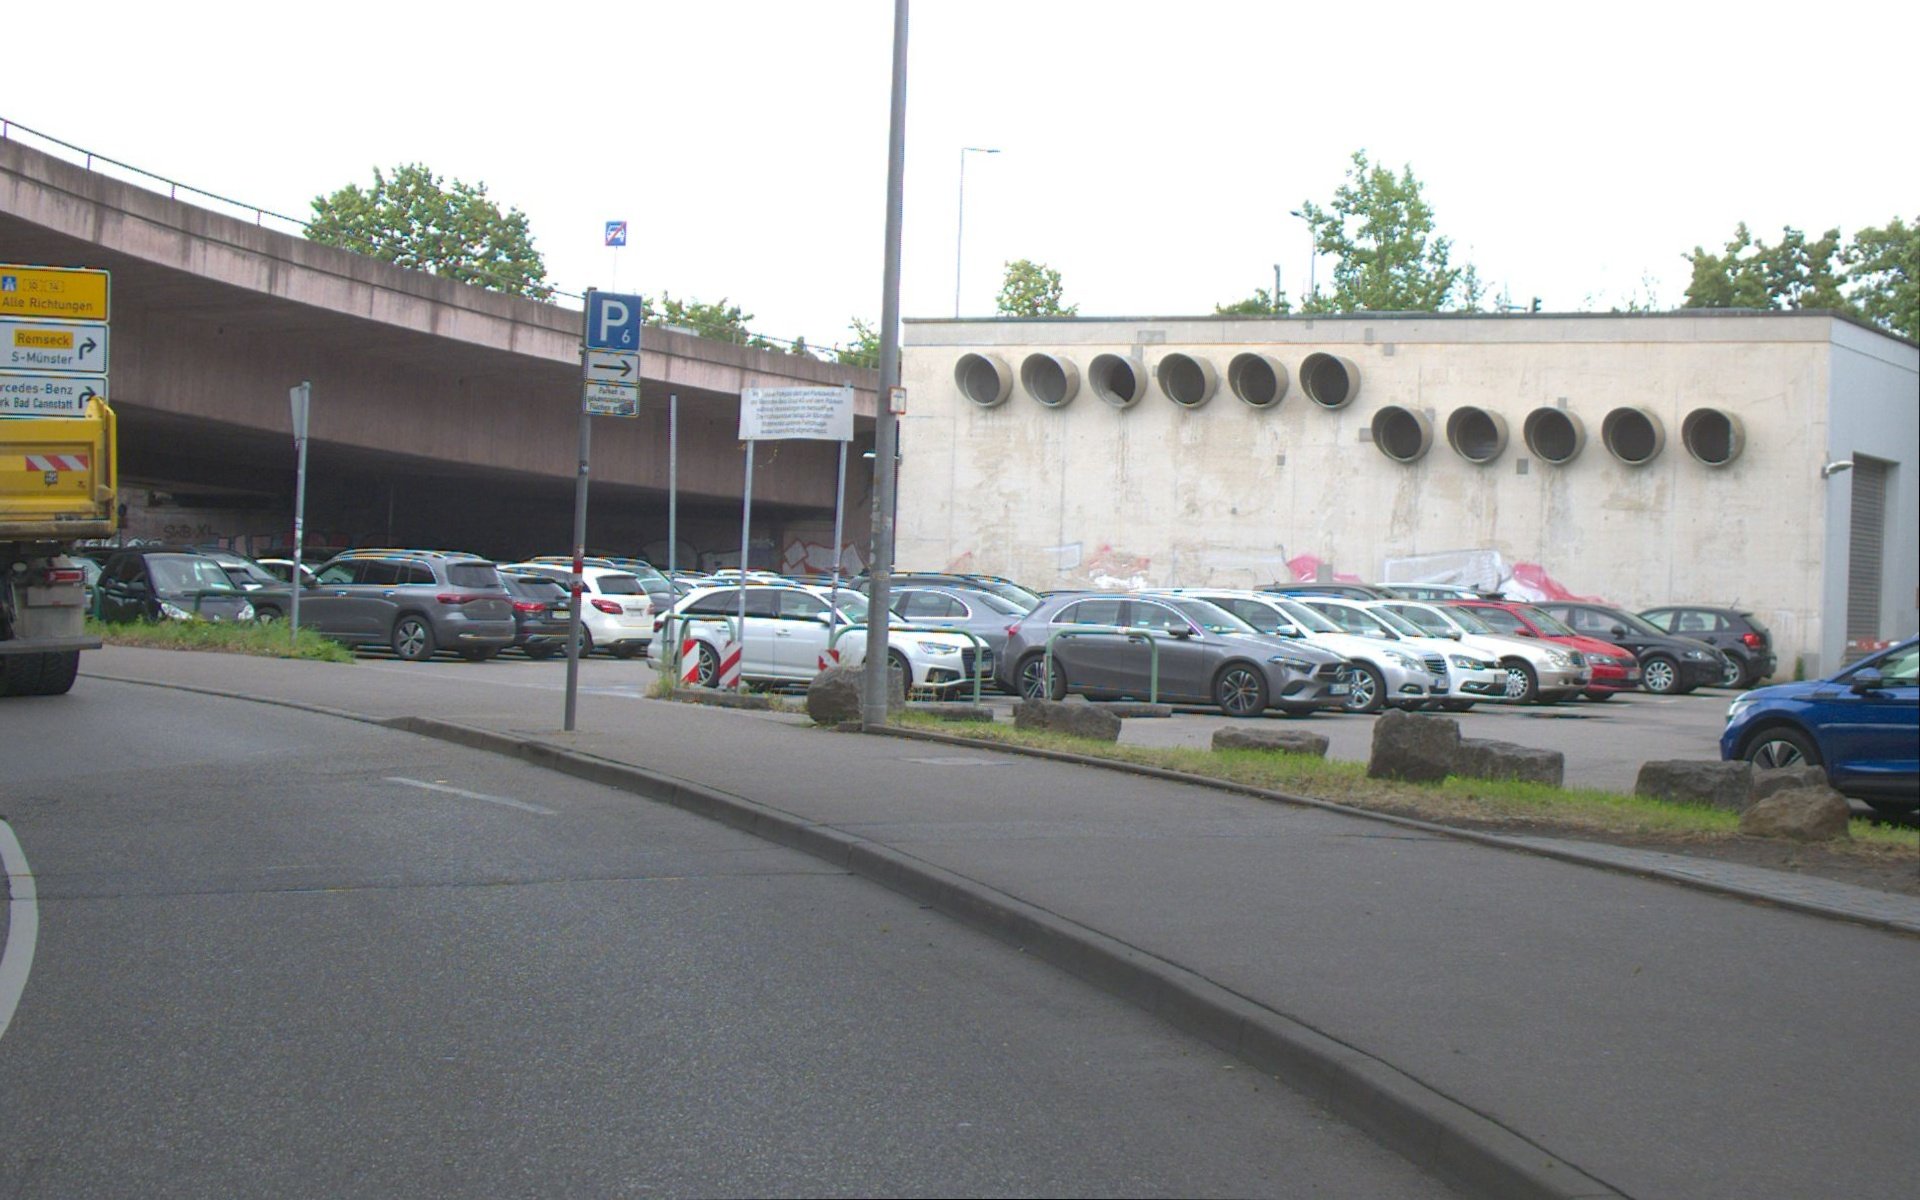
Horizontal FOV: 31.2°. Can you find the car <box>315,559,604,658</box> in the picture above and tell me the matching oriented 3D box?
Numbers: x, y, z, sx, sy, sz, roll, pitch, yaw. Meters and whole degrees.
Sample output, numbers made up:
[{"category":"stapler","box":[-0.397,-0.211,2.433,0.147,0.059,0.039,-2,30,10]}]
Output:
[{"category":"car","box":[-8.174,0.125,56.051,4.451,1.444,1.754,2,0,28]}]

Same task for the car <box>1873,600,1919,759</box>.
[{"category":"car","box":[11.575,0.854,34.441,4.354,1.582,1.773,2,1,30]}]

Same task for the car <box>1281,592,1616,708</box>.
[{"category":"car","box":[7.186,0.712,50.680,4.494,1.508,1.836,2,1,31]}]

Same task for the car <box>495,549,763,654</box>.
[{"category":"car","box":[-5.842,0.012,60.524,4.424,1.685,1.754,2,0,28]}]

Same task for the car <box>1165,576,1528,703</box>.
[{"category":"car","box":[5.227,0.514,46.632,4.494,1.508,1.836,2,1,31]}]

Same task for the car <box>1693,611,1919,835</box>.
[{"category":"car","box":[8.113,0.973,26.329,1.771,1.629,4.683,1,1,-43]}]

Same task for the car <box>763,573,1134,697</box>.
[{"category":"car","box":[-0.171,0.446,46.557,4.679,1.470,1.855,2,1,28]}]

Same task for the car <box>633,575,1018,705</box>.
[{"category":"car","box":[-1.757,0.488,44.455,4.680,1.470,1.855,2,1,31]}]

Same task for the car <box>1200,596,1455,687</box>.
[{"category":"car","box":[6.331,0.702,59.258,3.969,1.388,1.766,2,1,28]}]

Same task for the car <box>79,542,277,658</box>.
[{"category":"car","box":[-10.613,-0.011,46.601,1.540,1.474,2.760,1,0,-38]}]

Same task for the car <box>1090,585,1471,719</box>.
[{"category":"car","box":[4.103,0.643,44.229,4.494,1.508,1.836,2,1,31]}]

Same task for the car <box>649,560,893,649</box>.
[{"category":"car","box":[-3.558,0.078,64.533,4.254,1.504,1.706,2,0,28]}]

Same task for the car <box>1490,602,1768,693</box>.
[{"category":"car","box":[11.825,0.822,60.851,4.435,1.420,1.836,2,1,31]}]

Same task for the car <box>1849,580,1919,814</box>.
[{"category":"car","box":[10.014,0.876,28.566,4.675,1.950,1.890,2,1,37]}]

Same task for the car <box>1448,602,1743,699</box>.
[{"category":"car","box":[10.550,0.820,57.154,4.435,1.420,1.836,2,1,31]}]

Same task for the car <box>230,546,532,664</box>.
[{"category":"car","box":[-9.063,0.064,53.745,4.462,1.669,1.743,2,0,28]}]

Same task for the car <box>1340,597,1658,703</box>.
[{"category":"car","box":[8.271,0.753,52.843,4.435,1.420,1.836,2,1,31]}]

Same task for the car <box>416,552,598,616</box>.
[{"category":"car","box":[-11.296,-0.399,85.715,4.185,1.460,1.835,2,0,28]}]

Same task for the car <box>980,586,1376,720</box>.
[{"category":"car","box":[2.636,0.624,41.917,4.435,1.420,1.836,2,1,31]}]

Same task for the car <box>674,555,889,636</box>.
[{"category":"car","box":[-3.796,-0.095,73.166,4.185,1.587,1.835,2,0,28]}]

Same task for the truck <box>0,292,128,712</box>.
[{"category":"truck","box":[-10.673,-0.934,33.440,2.758,3.685,7.881,-1,2,-31]}]

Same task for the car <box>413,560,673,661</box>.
[{"category":"car","box":[-7.095,0.169,58.456,4.080,1.551,1.754,2,0,28]}]

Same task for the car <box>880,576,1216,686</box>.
[{"category":"car","box":[1.293,0.438,51.061,4.613,1.439,1.855,2,1,28]}]

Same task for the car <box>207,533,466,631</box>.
[{"category":"car","box":[-10.958,-0.319,60.393,4.185,1.587,1.835,2,0,28]}]
